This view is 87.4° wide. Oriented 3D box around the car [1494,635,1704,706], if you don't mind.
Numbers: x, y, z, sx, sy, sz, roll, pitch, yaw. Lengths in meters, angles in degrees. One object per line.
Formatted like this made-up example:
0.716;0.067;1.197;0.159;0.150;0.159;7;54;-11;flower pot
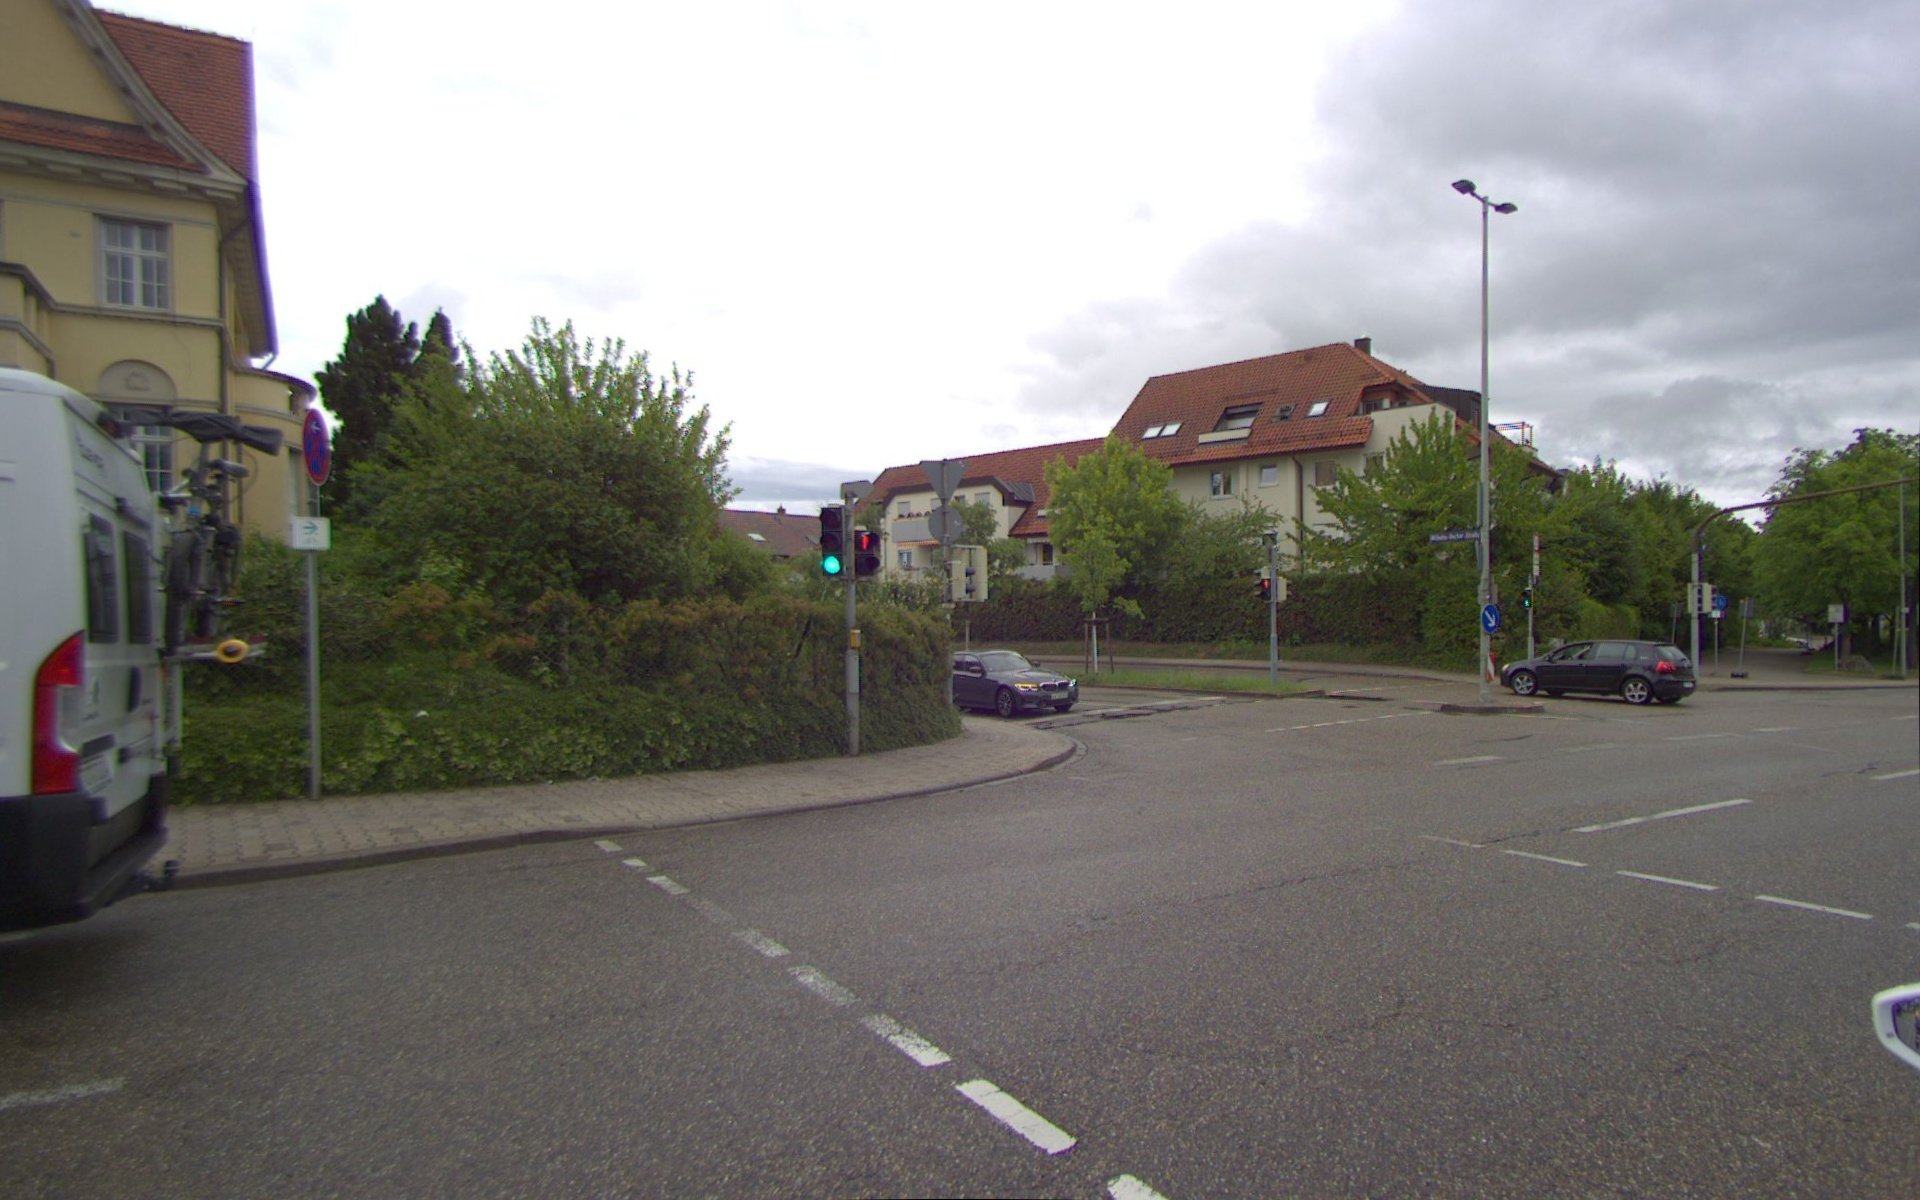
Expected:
15.381;1.631;24.349;1.748;1.499;3.961;1;-1;-35;car

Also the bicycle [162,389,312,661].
-3.549;-0.283;5.017;0.462;1.141;1.628;0;-2;-31;bicycle

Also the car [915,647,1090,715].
0.889;1.848;23.579;1.759;1.411;4.391;0;-3;-36;car

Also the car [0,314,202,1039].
-6.142;0.235;3.181;5.709;2.561;2.285;1;-1;-32;car
